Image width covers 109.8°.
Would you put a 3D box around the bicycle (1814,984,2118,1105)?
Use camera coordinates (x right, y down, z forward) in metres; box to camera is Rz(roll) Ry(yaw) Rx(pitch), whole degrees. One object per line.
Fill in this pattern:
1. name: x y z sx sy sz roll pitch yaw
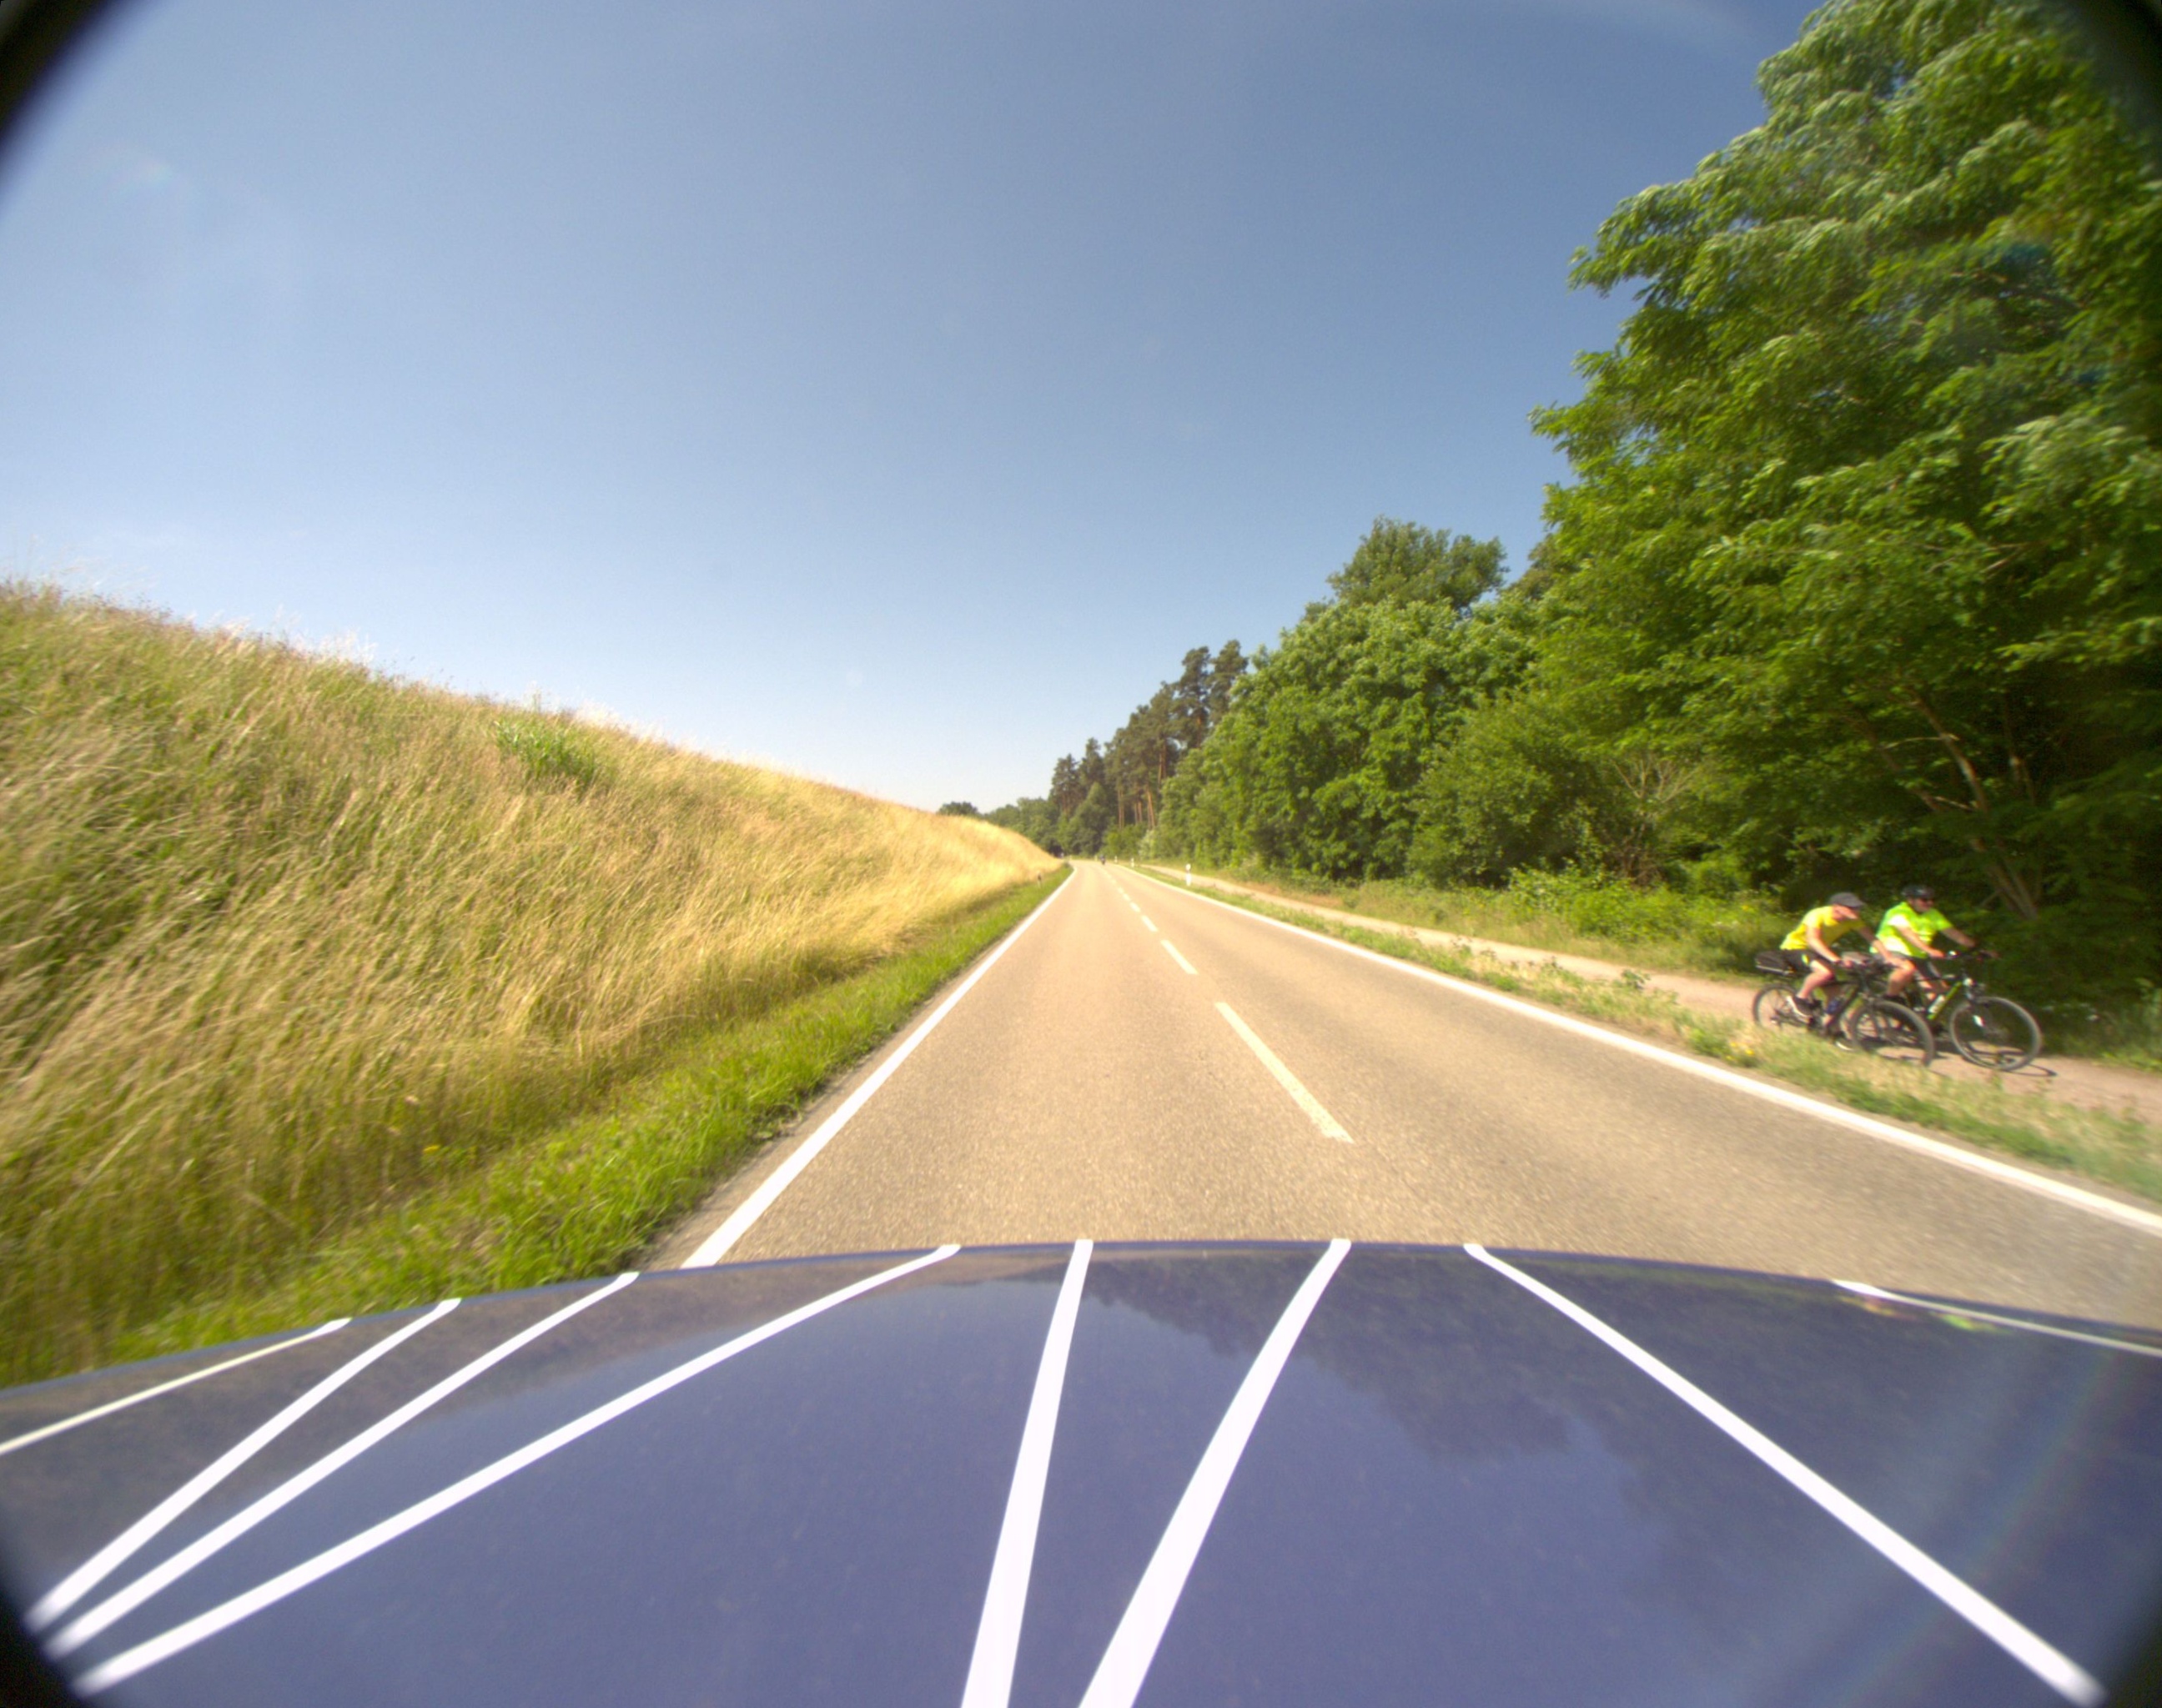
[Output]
1. bicycle: 8.796 1.858 7.735 0.620 0.677 2.137 -2 0 1

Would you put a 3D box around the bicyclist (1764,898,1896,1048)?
1. bicyclist: 7.613 1.184 7.757 0.606 1.407 0.702 1 1 1

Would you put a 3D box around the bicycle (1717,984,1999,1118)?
1. bicycle: 7.595 1.882 7.622 0.641 0.783 2.137 1 0 1

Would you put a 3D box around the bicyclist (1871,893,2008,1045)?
1. bicyclist: 8.781 1.152 7.805 0.606 1.408 0.702 -3 3 1

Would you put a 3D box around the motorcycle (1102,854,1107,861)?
1. motorcycle: 3.303 0.518 107.777 0.640 0.979 2.006 1 0 -1

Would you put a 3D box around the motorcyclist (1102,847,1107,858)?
1. motorcyclist: 3.353 -0.213 107.666 0.661 1.519 0.814 1 1 -1
